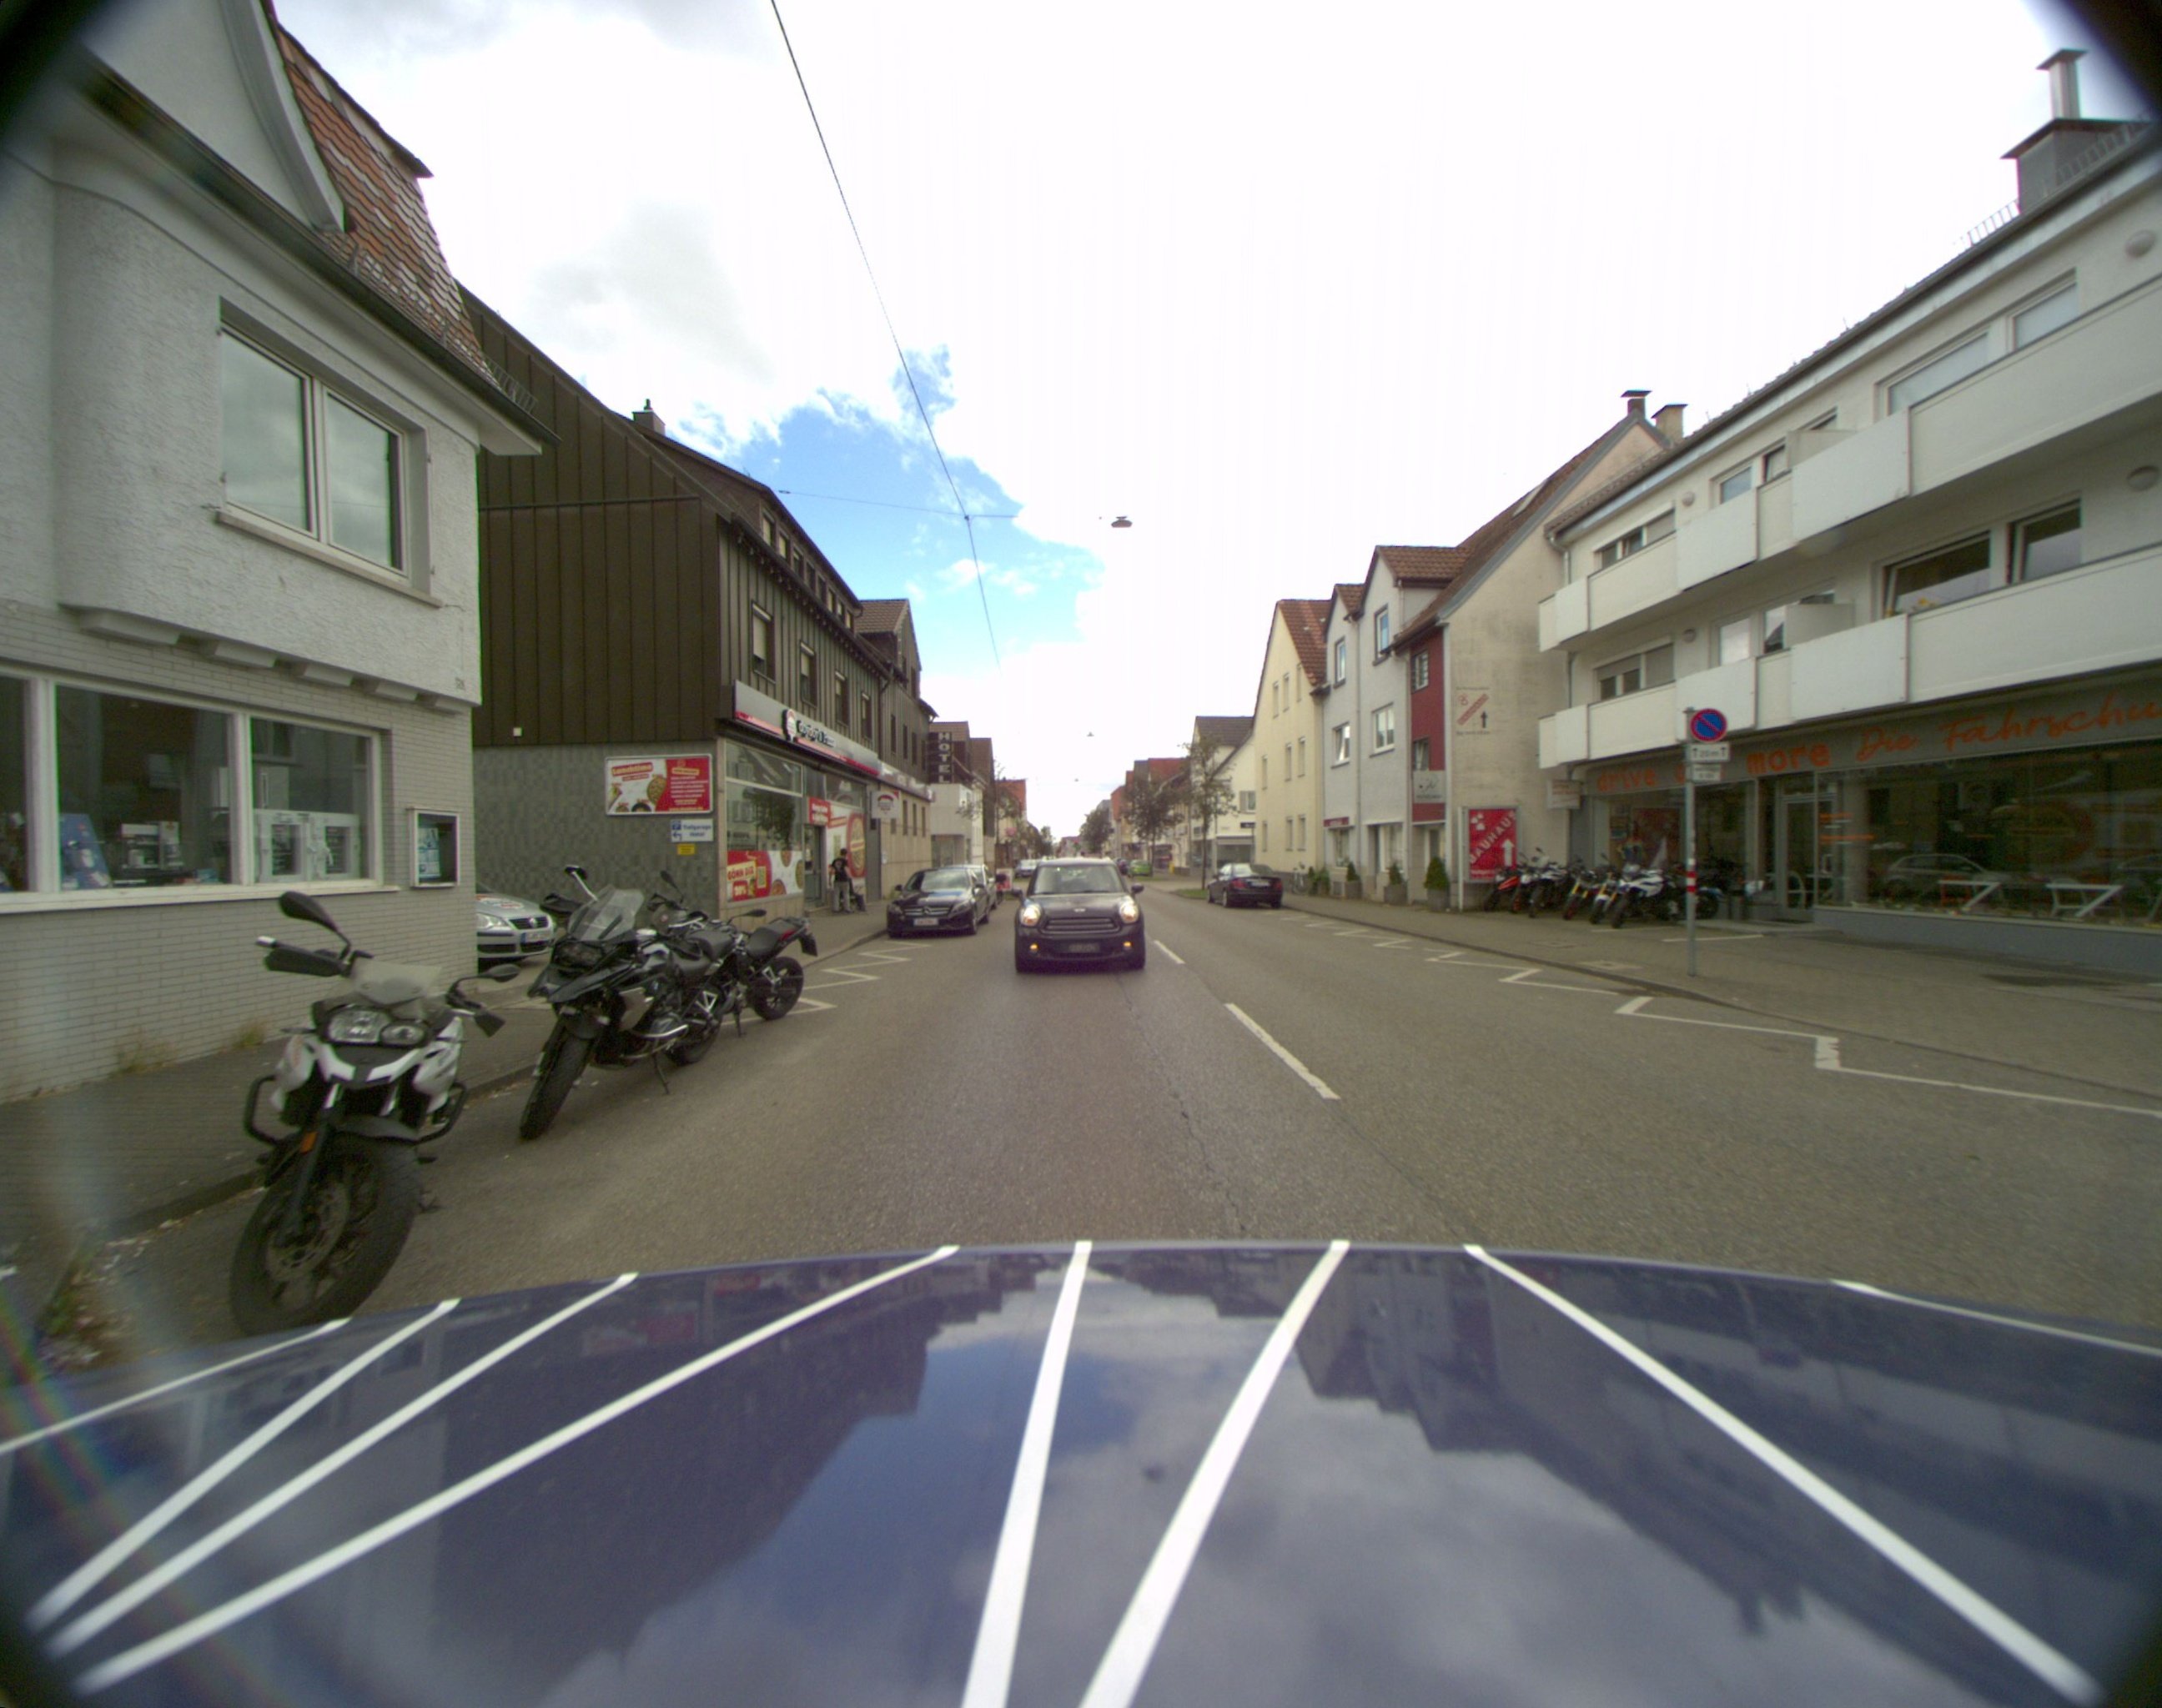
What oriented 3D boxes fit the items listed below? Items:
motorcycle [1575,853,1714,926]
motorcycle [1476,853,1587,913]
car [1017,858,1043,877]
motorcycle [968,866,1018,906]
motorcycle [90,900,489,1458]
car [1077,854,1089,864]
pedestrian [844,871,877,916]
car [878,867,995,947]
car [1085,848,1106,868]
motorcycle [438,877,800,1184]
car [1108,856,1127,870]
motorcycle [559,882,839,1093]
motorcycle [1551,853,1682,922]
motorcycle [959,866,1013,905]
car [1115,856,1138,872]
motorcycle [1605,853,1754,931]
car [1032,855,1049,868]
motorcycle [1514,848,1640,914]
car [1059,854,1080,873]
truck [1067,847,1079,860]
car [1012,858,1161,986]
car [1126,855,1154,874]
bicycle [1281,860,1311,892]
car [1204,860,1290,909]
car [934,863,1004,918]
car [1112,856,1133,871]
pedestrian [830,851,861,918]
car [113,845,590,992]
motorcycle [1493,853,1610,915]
[{"bbox_3d":[10.924,0.672,14.769,2.231,1.258,0.613,-3,1,-2],"label":"motorcycle"},{"bbox_3d":[10.577,0.663,17.865,2.231,1.258,0.613,-3,1,-2],"label":"motorcycle"},{"bbox_3d":[-3.953,0.999,59.145,1.795,1.356,3.948,1,0,0],"label":"car"},{"bbox_3d":[-3.011,1.067,25.980,1.589,1.284,0.500,-2,1,-30],"label":"motorcycle"},{"bbox_3d":[-2.986,0.940,3.152,0.777,1.373,2.237,-2,1,-38],"label":"motorcycle"},{"bbox_3d":[0.338,0.822,120.755,1.779,1.446,3.999,-2,0,0],"label":"car"},{"bbox_3d":[-6.002,1.070,20.700,0.742,1.204,0.644,0,1,-1],"label":"pedestrian"},{"bbox_3d":[-3.078,1.073,17.114,1.830,1.400,4.564,-2,0,-2],"label":"car"},{"bbox_3d":[1.397,0.372,76.163,1.855,1.932,4.489,1,0,-2],"label":"car"},{"bbox_3d":[-2.919,0.974,5.299,0.672,1.516,2.599,-1,0,6],"label":"motorcycle"},{"bbox_3d":[3.881,0.950,81.723,1.716,1.389,3.899,-2,0,-2],"label":"car"},{"bbox_3d":[-3.228,1.026,6.820,0.648,1.432,2.472,-1,1,18],"label":"motorcycle"},{"bbox_3d":[10.921,0.668,15.532,2.231,1.258,0.613,-3,1,-2],"label":"motorcycle"},{"bbox_3d":[-3.336,1.097,26.860,1.874,1.284,0.531,-2,1,-39],"label":"motorcycle"},{"bbox_3d":[4.264,0.874,71.093,1.716,1.389,3.899,-2,0,-2],"label":"car"},{"bbox_3d":[10.906,0.677,13.886,2.231,1.258,0.613,-3,1,-2],"label":"motorcycle"},{"bbox_3d":[-4.728,0.897,88.826,1.795,1.397,3.948,1,0,0],"label":"car"},{"bbox_3d":[10.672,0.566,16.374,2.231,1.258,0.699,-3,1,-2],"label":"motorcycle"},{"bbox_3d":[-1.073,0.890,73.088,1.855,1.615,4.736,-1,0,0],"label":"car"},{"bbox_3d":[-2.033,-0.064,185.945,2.800,3.020,8.249,-2,0,0],"label":"truck"},{"bbox_3d":[-0.026,0.868,11.992,1.855,1.527,4.735,-1,0,-2],"label":"car"},{"bbox_3d":[4.690,0.800,60.470,1.716,1.389,3.899,-2,0,-2],"label":"car"},{"bbox_3d":[8.315,0.828,29.428,0.515,1.189,2.023,-2,0,-2],"label":"bicycle"},{"bbox_3d":[5.366,0.926,25.068,1.792,1.409,4.340,0,0,-2],"label":"car"},{"bbox_3d":[-3.354,1.043,23.385,1.645,1.433,3.901,-2,0,-2],"label":"car"},{"bbox_3d":[4.126,0.976,76.082,1.716,1.389,3.899,-2,0,-2],"label":"car"},{"bbox_3d":[-6.148,0.787,19.890,0.644,1.730,0.742,0,1,-6],"label":"pedestrian"},{"bbox_3d":[-8.974,0.745,9.657,4.209,1.579,1.855,2,1,-1],"label":"car"},{"bbox_3d":[10.615,0.666,17.164,2.231,1.258,0.613,-3,1,-2],"label":"motorcycle"}]
